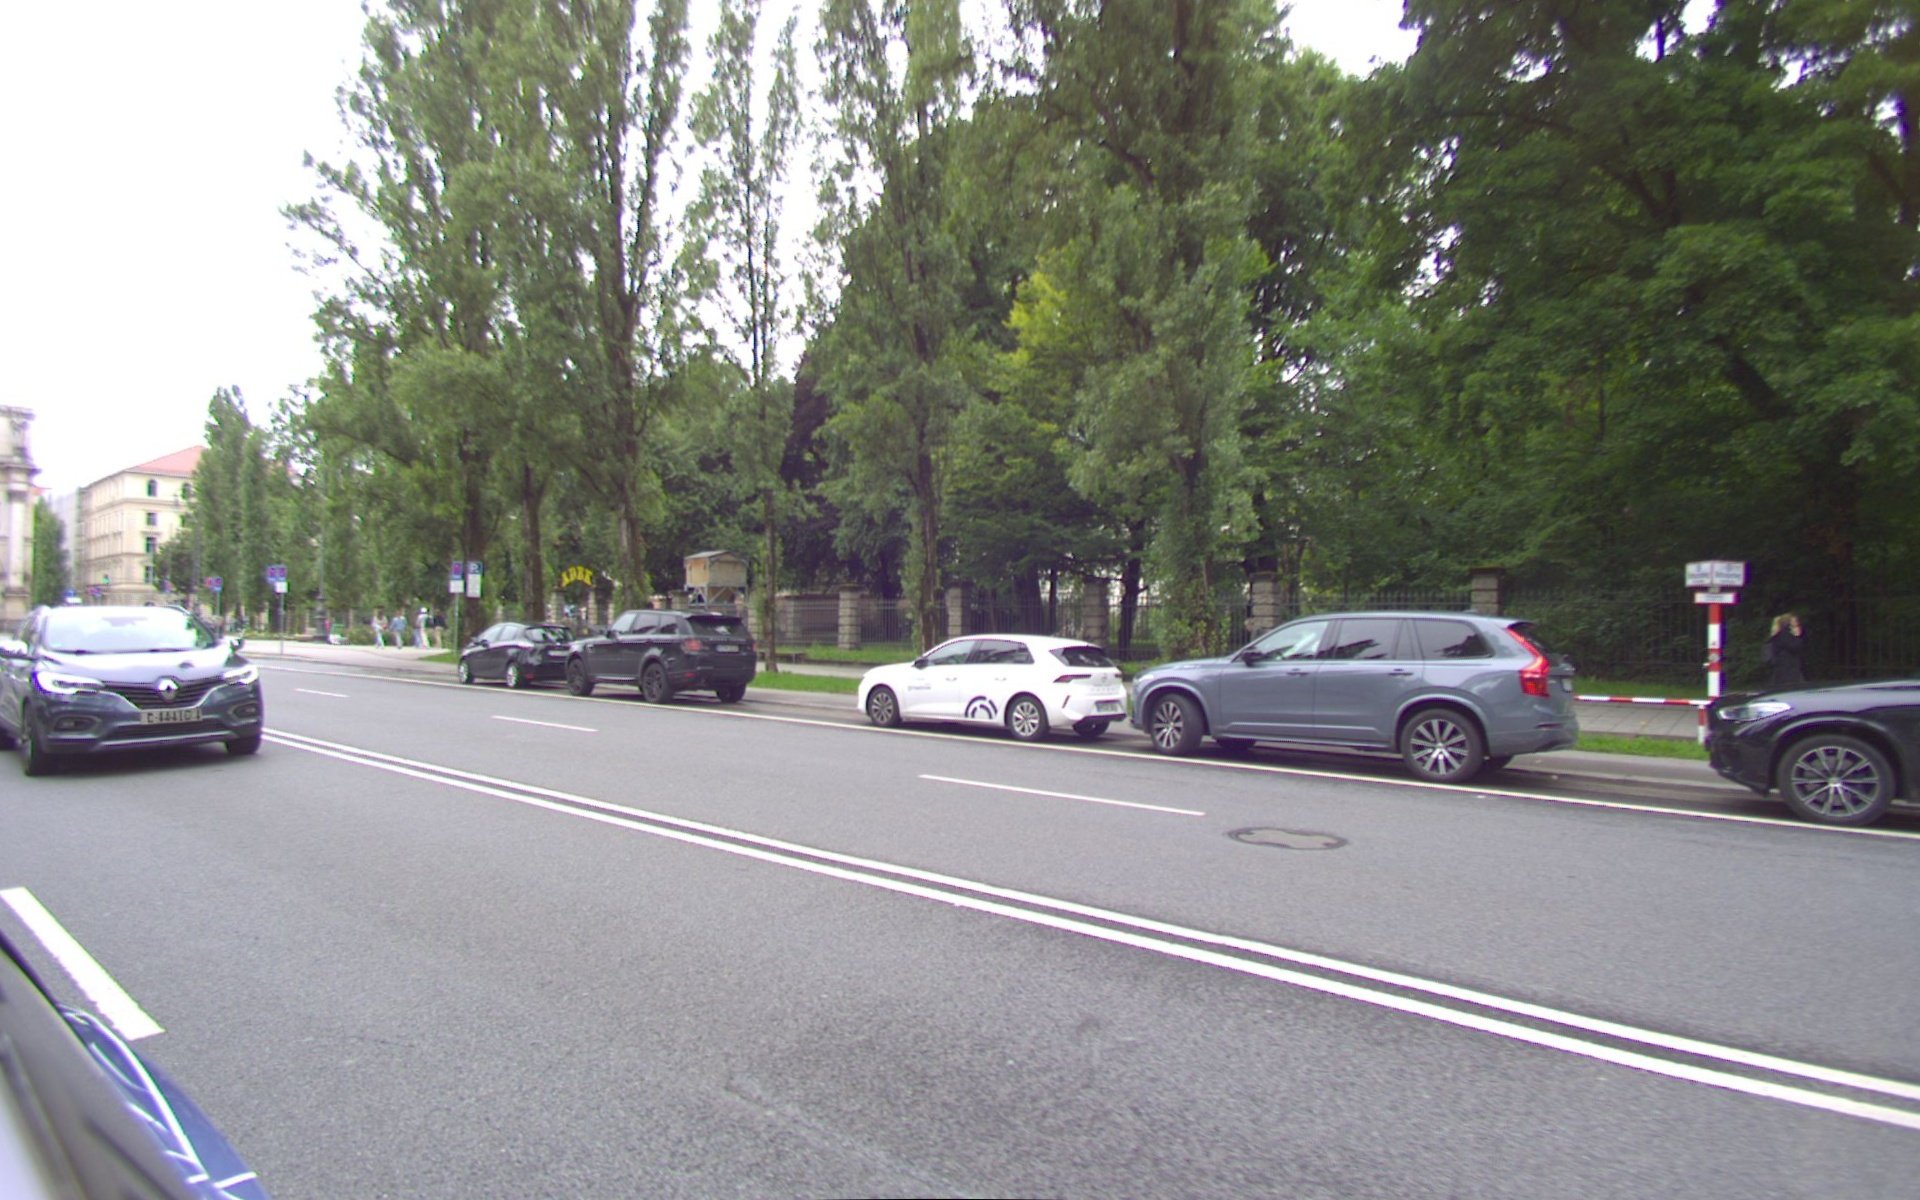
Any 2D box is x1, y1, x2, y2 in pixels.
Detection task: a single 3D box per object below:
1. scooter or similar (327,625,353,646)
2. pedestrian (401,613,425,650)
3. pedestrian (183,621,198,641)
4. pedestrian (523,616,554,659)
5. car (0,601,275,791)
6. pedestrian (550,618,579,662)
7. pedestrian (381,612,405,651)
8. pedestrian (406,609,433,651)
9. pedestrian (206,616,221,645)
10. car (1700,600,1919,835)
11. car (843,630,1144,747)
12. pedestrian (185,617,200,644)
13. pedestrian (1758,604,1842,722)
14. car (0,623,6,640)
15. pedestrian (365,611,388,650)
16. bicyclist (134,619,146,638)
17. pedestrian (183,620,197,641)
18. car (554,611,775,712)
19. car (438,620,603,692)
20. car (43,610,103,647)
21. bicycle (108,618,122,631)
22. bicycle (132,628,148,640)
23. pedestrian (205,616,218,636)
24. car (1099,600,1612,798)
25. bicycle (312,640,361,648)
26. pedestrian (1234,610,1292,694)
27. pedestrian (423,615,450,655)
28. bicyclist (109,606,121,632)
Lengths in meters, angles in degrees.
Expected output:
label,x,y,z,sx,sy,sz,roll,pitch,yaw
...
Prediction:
label,x,y,z,sx,sy,sz,roll,pitch,yaw
scooter or similar,-34.969,2.008,57.063,1.413,1.187,0.738,-1,-3,36
pedestrian,-25.333,1.462,46.877,0.910,1.729,0.653,-1,-2,40
pedestrian,-68.730,2.744,90.421,0.944,1.731,1.033,0,0,-28
pedestrian,-15.507,1.363,37.225,0.874,1.560,0.711,-1,-2,39
car,-8.883,0.848,10.613,4.183,1.598,1.816,-1,-1,41
pedestrian,-14.830,1.492,37.932,0.812,1.617,0.711,-1,-2,39
pedestrian,-25.869,1.436,46.179,0.885,1.713,0.681,-1,-2,40
pedestrian,-23.950,1.317,44.859,1.092,1.847,0.702,-1,-2,39
pedestrian,-44.777,1.842,60.715,0.581,1.744,0.527,-1,-2,29
car,8.766,0.936,7.767,4.890,1.781,1.921,-1,-4,39
car,0.393,1.209,14.851,4.269,1.470,1.687,-1,-4,40
pedestrian,-48.443,1.923,63.854,0.581,1.744,0.527,-1,-2,29
pedestrian,13.017,0.959,15.702,0.956,1.755,0.659,-1,-2,41
car,-102.094,3.251,105.176,3.944,1.763,2.000,0,-2,1
pedestrian,-26.226,1.367,45.480,0.907,1.760,0.623,-1,-2,40
bicyclist,-67.940,2.359,83.891,0.660,1.604,0.639,-1,-1,38
pedestrian,-65.635,2.580,86.317,0.945,1.731,1.032,0,0,-38
car,-6.057,1.198,20.430,4.798,1.800,2.024,-1,-4,42
car,-10.742,1.326,24.618,4.386,1.596,1.924,-1,-4,41
car,-50.495,1.594,57.615,4.467,1.346,1.775,12,6,38
bicycle,-61.971,1.801,74.225,1.912,0.959,0.465,-1,-1,40
bicycle,-68.020,2.790,83.949,1.912,0.959,0.666,-1,-1,40
pedestrian,-69.527,2.400,94.011,0.976,1.885,1.032,0,-1,-40
car,4.318,1.001,11.658,5.176,1.803,1.890,-1,-5,40
bicycle,-37.608,2.670,61.104,1.330,0.456,2.204,-1,-2,17
pedestrian,6.540,1.099,21.862,0.956,1.755,0.822,-1,-2,41
pedestrian,-23.483,1.553,45.425,1.092,1.786,0.702,-1,-2,39
bicyclist,-61.990,1.388,74.237,0.660,1.837,0.583,-1,-1,38
